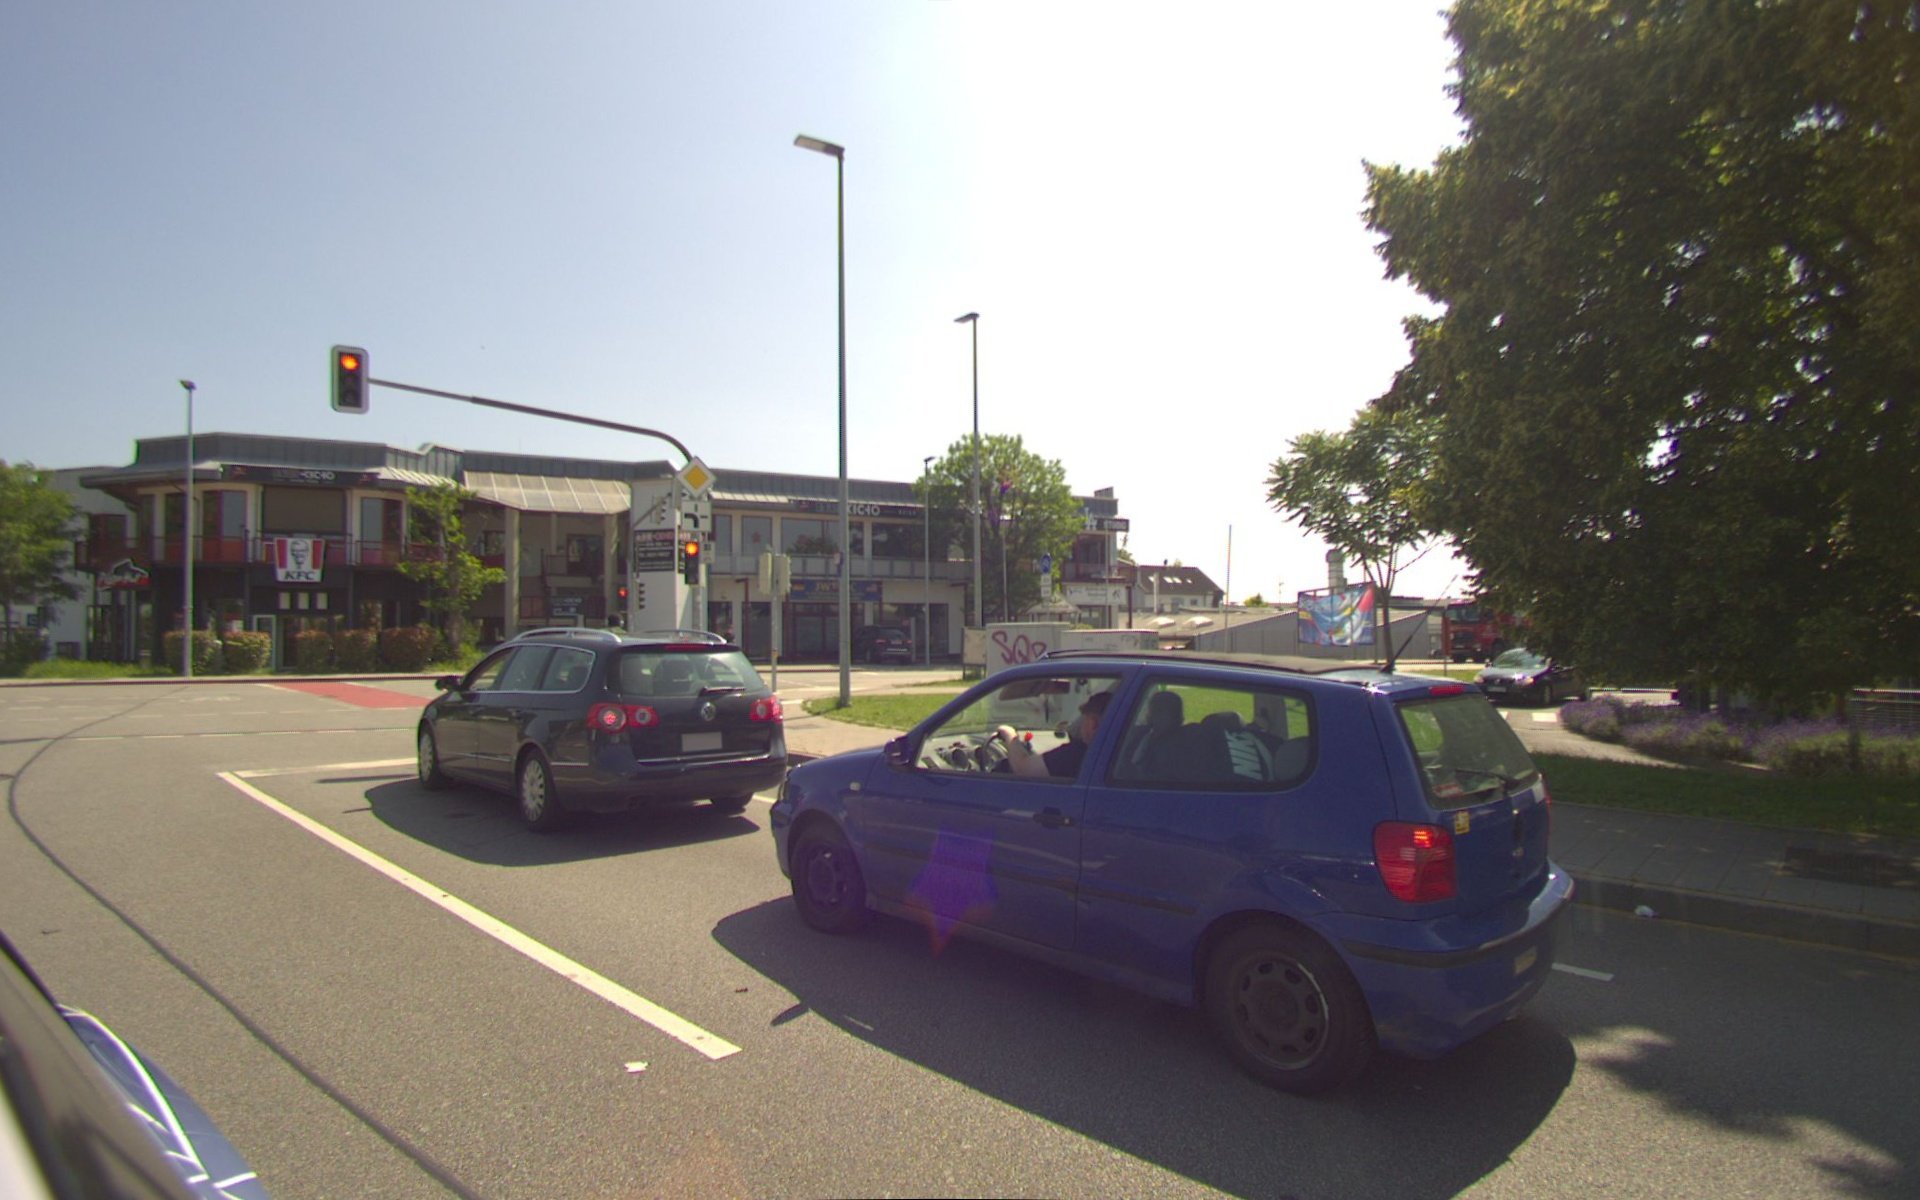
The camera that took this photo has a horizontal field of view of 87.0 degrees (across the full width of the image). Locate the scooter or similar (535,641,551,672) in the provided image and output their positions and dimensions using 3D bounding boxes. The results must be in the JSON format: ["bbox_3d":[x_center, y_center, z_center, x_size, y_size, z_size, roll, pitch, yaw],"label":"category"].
[{"bbox_3d":[-15.963,2.157,38.766,0.492,1.132,1.509,1,-3,-21],"label":"scooter or similar"}]

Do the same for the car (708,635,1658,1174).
[{"bbox_3d":[0.626,0.873,4.648,4.002,1.391,1.637,-2,-3,45],"label":"car"}]

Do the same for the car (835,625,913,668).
[{"bbox_3d":[-3.936,2.083,45.601,1.777,1.870,4.673,1,-3,-29],"label":"car"}]

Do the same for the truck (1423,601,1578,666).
[{"bbox_3d":[30.319,1.873,56.651,9.011,3.412,3.324,1,-3,-30],"label":"truck"}]

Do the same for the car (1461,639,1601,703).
[{"bbox_3d":[15.217,1.827,26.923,4.121,1.564,1.869,2,-3,-40],"label":"car"}]

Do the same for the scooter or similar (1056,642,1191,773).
[{"bbox_3d":[1.574,1.011,9.927,0.465,1.193,1.368,2,-3,-36],"label":"scooter or similar"}]

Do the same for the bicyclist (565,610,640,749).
[{"bbox_3d":[-4.840,1.059,13.697,0.701,1.802,0.810,2,-3,-40],"label":"bicyclist"}]

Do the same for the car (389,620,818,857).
[{"bbox_3d":[-3.330,0.978,8.804,1.758,1.508,4.727,2,-3,-43],"label":"car"}]

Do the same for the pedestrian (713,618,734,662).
[{"bbox_3d":[-9.158,1.543,39.152,0.722,1.658,0.843,0,-3,-9],"label":"pedestrian"}]
